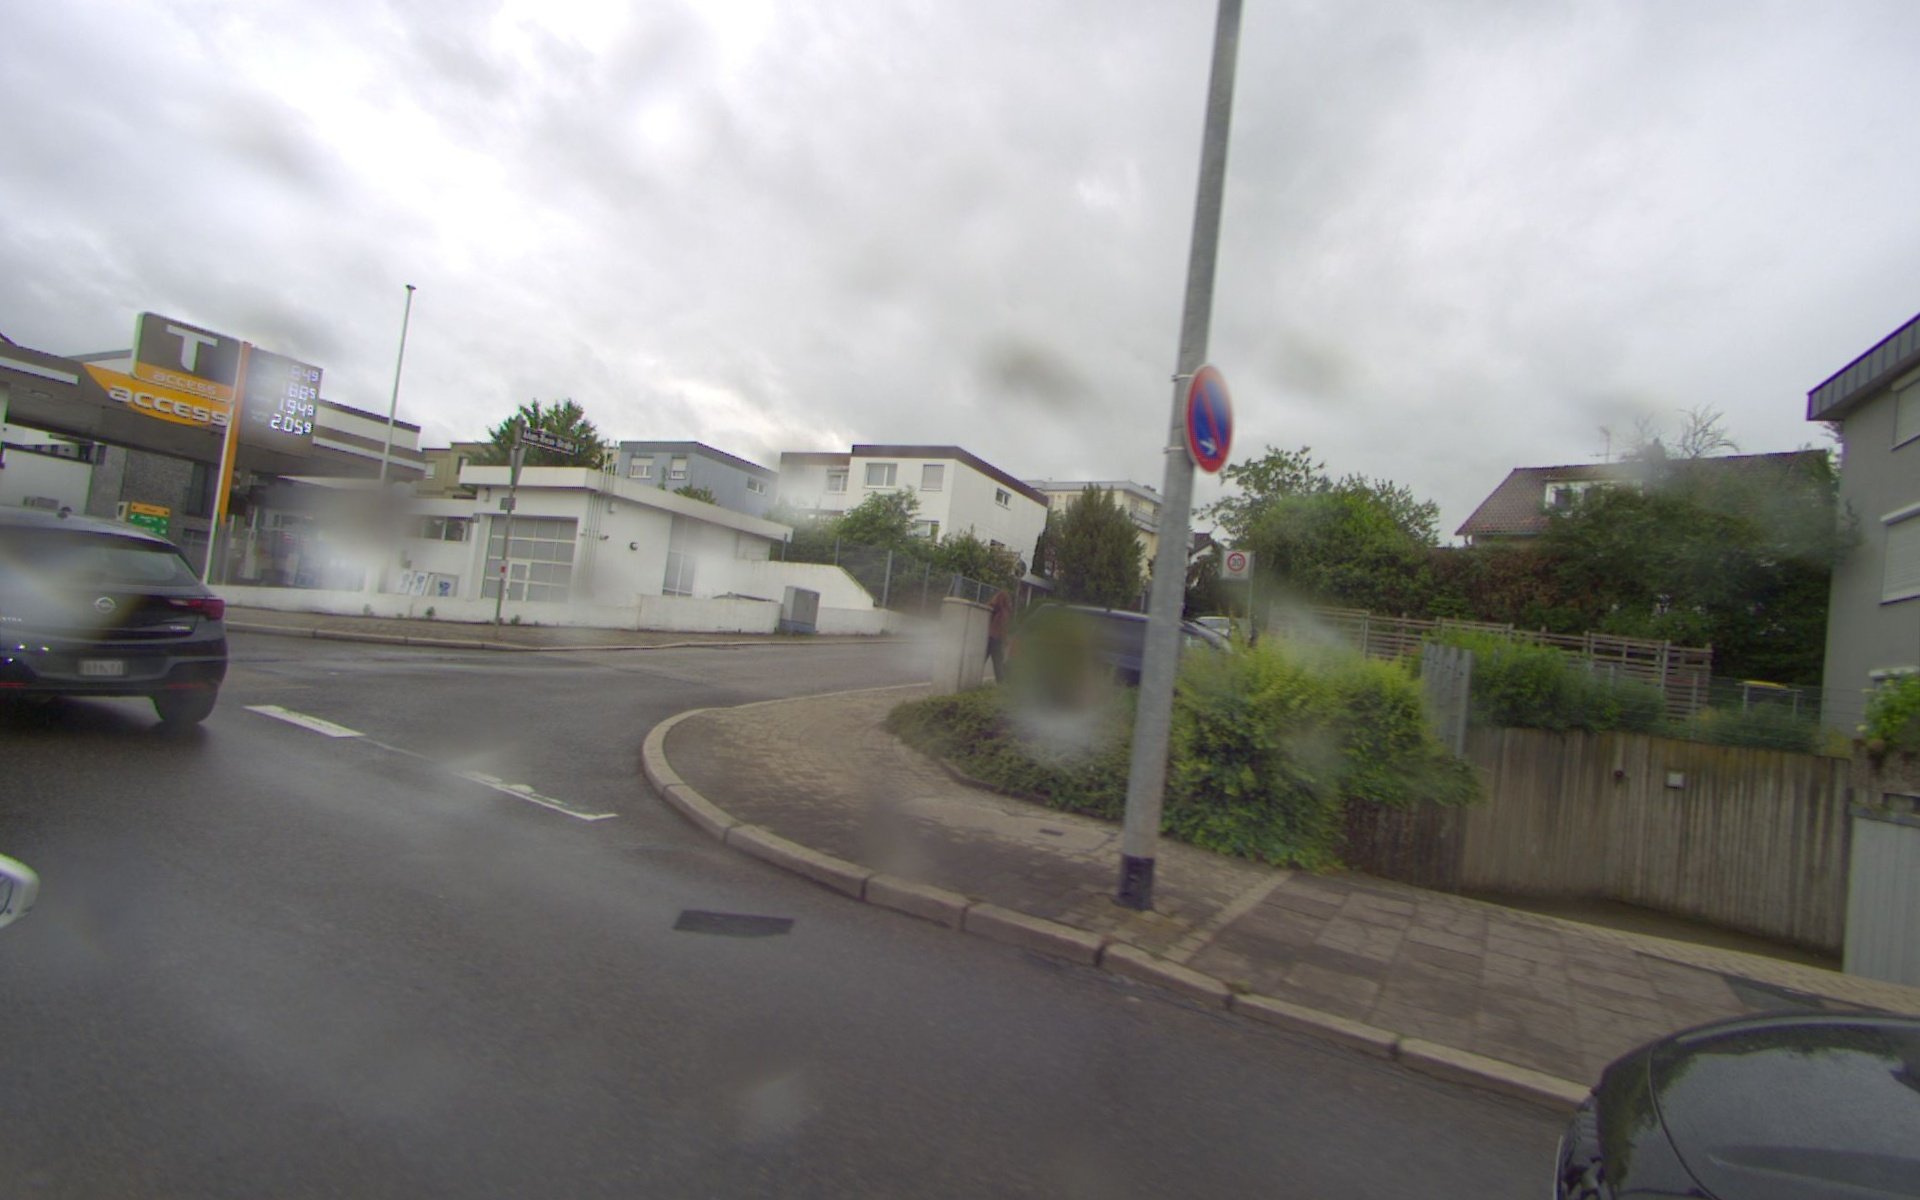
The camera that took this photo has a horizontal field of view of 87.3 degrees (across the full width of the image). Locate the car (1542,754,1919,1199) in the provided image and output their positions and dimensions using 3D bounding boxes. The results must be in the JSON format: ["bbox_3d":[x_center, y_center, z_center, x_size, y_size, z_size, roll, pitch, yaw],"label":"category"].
[{"bbox_3d":[3.136,1.178,0.755,4.663,1.440,1.870,4,-4,33],"label":"car"}]

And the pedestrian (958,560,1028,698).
[{"bbox_3d":[0.506,0.449,15.489,0.606,2.037,0.715,4,-1,40],"label":"pedestrian"}]

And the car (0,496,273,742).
[{"bbox_3d":[-7.159,-0.016,7.488,3.933,1.465,1.761,7,-2,31],"label":"car"}]

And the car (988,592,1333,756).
[{"bbox_3d":[2.570,0.861,12.838,3.927,1.546,1.814,5,0,23],"label":"car"}]

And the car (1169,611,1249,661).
[{"bbox_3d":[9.365,1.366,37.595,1.965,1.492,3.997,6,-1,26],"label":"car"}]

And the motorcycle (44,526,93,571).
[{"bbox_3d":[-23.491,-1.364,26.501,1.367,1.067,0.463,4,-3,31],"label":"motorcycle"}]

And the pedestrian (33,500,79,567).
[{"bbox_3d":[-23.819,-1.747,26.507,0.576,1.674,0.611,5,-3,31],"label":"pedestrian"}]
